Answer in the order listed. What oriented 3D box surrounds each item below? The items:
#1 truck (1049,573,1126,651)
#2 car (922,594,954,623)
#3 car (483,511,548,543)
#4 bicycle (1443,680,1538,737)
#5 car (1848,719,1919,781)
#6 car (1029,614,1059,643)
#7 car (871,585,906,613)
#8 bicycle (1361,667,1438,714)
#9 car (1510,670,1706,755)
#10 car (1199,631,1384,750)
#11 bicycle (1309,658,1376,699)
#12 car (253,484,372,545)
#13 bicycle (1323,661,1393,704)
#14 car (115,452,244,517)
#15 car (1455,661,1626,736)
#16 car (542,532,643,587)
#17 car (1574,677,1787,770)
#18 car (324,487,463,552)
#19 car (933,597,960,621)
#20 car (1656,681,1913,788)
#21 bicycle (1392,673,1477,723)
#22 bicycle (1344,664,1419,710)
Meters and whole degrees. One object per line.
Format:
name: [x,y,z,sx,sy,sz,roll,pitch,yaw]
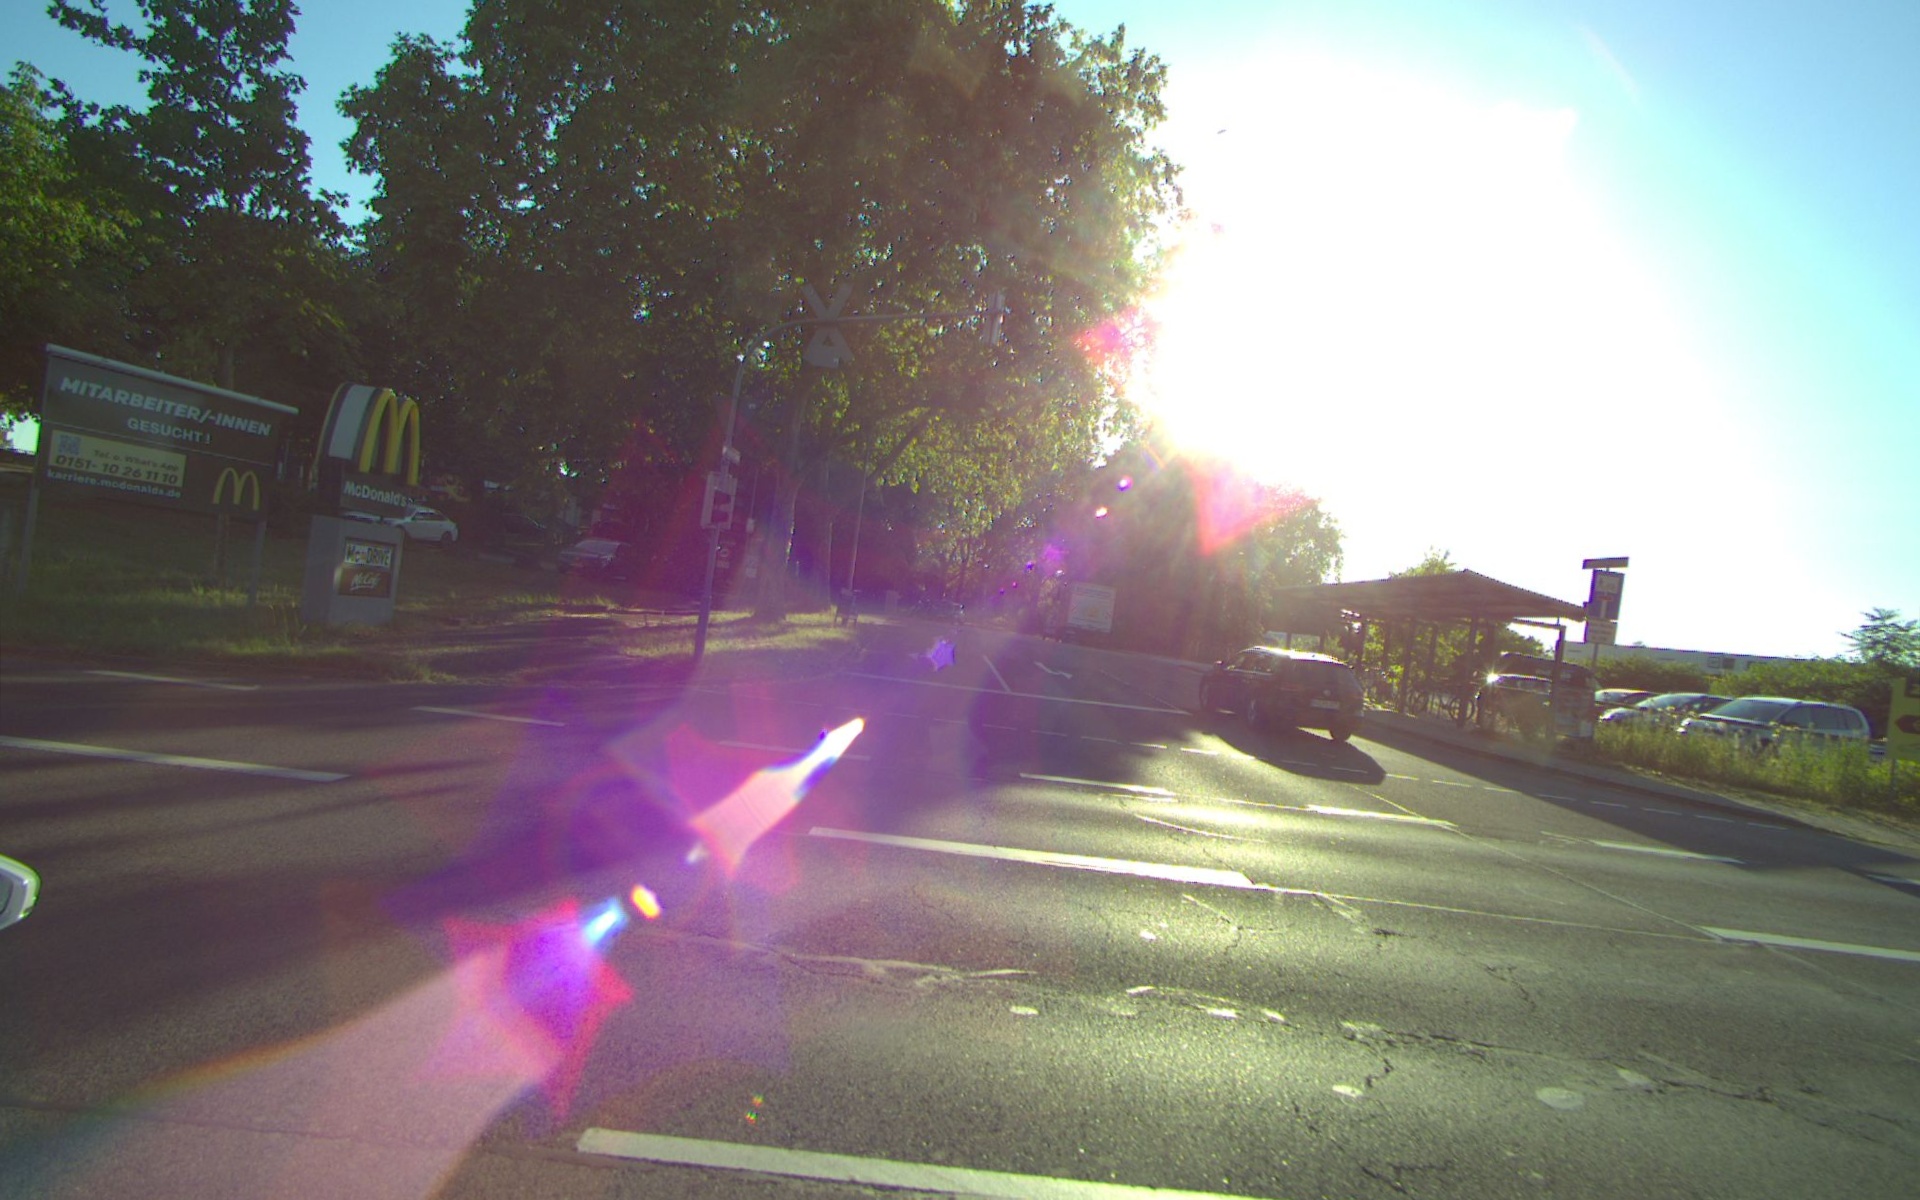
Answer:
truck: [7.631,0.689,61.964,3.136,3.924,11.097,8,0,1]
car: [-1.377,0.526,65.181,1.818,1.571,3.999,8,0,0]
car: [-31.036,-5.092,70.346,3.945,1.571,1.799,8,0,-21]
bicycle: [12.526,2.553,23.778,1.859,1.051,0.544,8,1,-1]
car: [31.759,5.089,32.521,3.924,1.657,2.121,8,1,8]
car: [6.502,2.180,78.003,1.673,1.931,4.865,8,0,0]
car: [-4.652,-0.069,65.642,1.818,1.571,3.999,8,0,0]
bicycle: [12.498,2.578,28.626,1.859,1.051,0.544,8,1,-1]
car: [18.906,3.265,29.500,4.243,1.669,2.119,8,1,-3]
car: [5.960,1.565,18.683,1.797,1.575,4.256,8,0,-1]
bicycle: [12.381,2.542,32.594,1.858,1.051,0.544,8,1,3]
car: [-24.202,-3.155,37.775,1.795,1.708,4.221,7,0,-4]
bicycle: [12.337,2.556,31.213,1.858,1.051,0.544,8,1,3]
car: [-28.460,-4.172,36.879,1.797,1.708,4.217,7,0,-9]
car: [19.026,3.214,33.096,4.243,1.669,2.119,8,1,-3]
car: [-13.486,-1.452,37.176,2.006,1.593,4.400,8,0,-1]
car: [18.844,3.203,26.446,3.928,1.669,2.119,8,1,-3]
car: [-20.757,-2.893,37.164,1.963,1.727,4.900,8,0,4]
car: [-1.026,0.671,77.099,1.818,1.571,3.999,8,0,0]
car: [19.151,3.104,23.517,4.152,1.669,2.119,8,1,-3]
bicycle: [12.501,2.579,26.533,1.859,1.051,0.544,8,1,-1]
bicycle: [12.301,2.541,29.398,1.859,1.051,0.544,8,1,-1]
